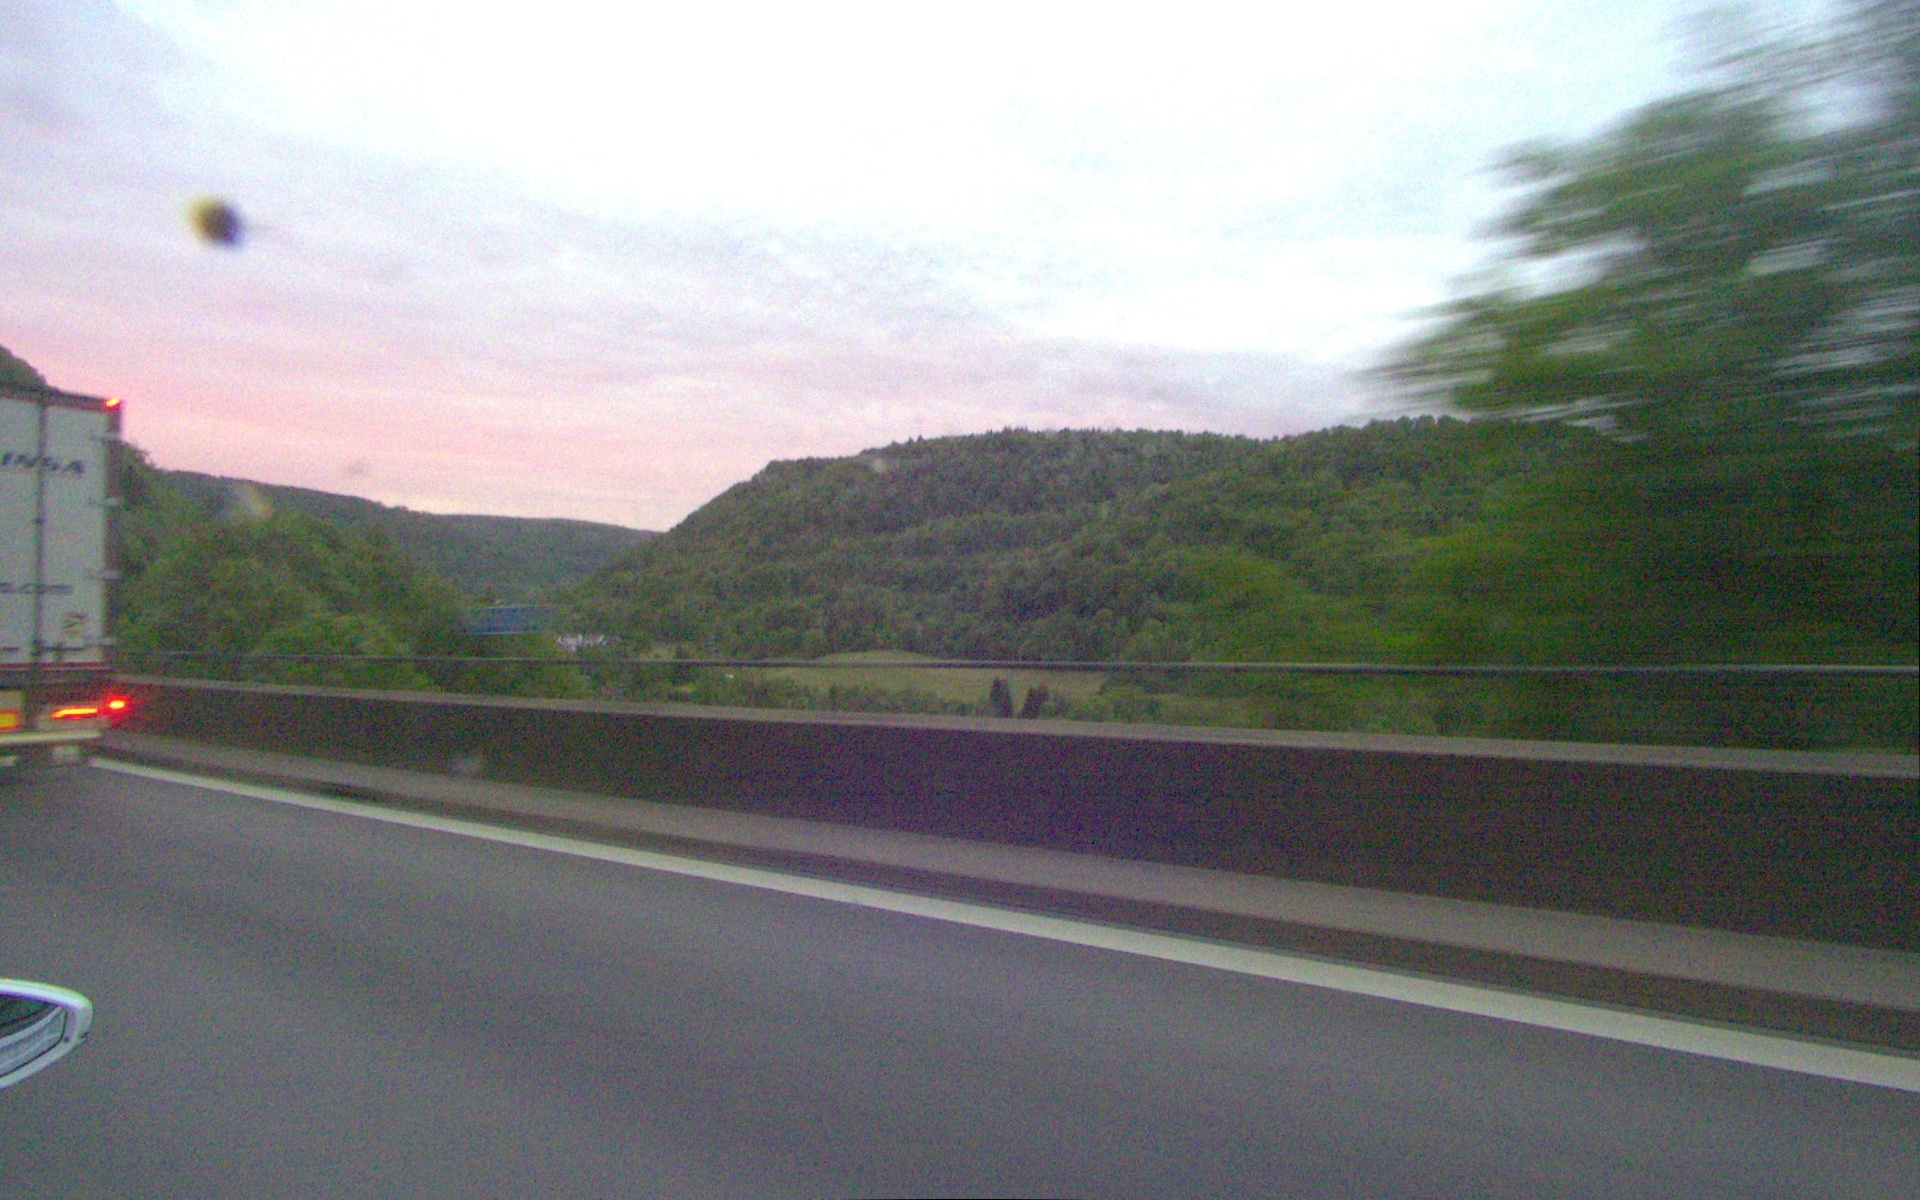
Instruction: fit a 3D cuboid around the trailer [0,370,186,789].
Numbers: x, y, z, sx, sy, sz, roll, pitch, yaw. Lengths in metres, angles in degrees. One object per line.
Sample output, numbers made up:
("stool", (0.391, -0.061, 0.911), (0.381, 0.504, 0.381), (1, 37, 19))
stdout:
("trailer", (-15.063, -0.142, 13.507), (14.021, 4.021, 3.090), (-1, -1, 34))
